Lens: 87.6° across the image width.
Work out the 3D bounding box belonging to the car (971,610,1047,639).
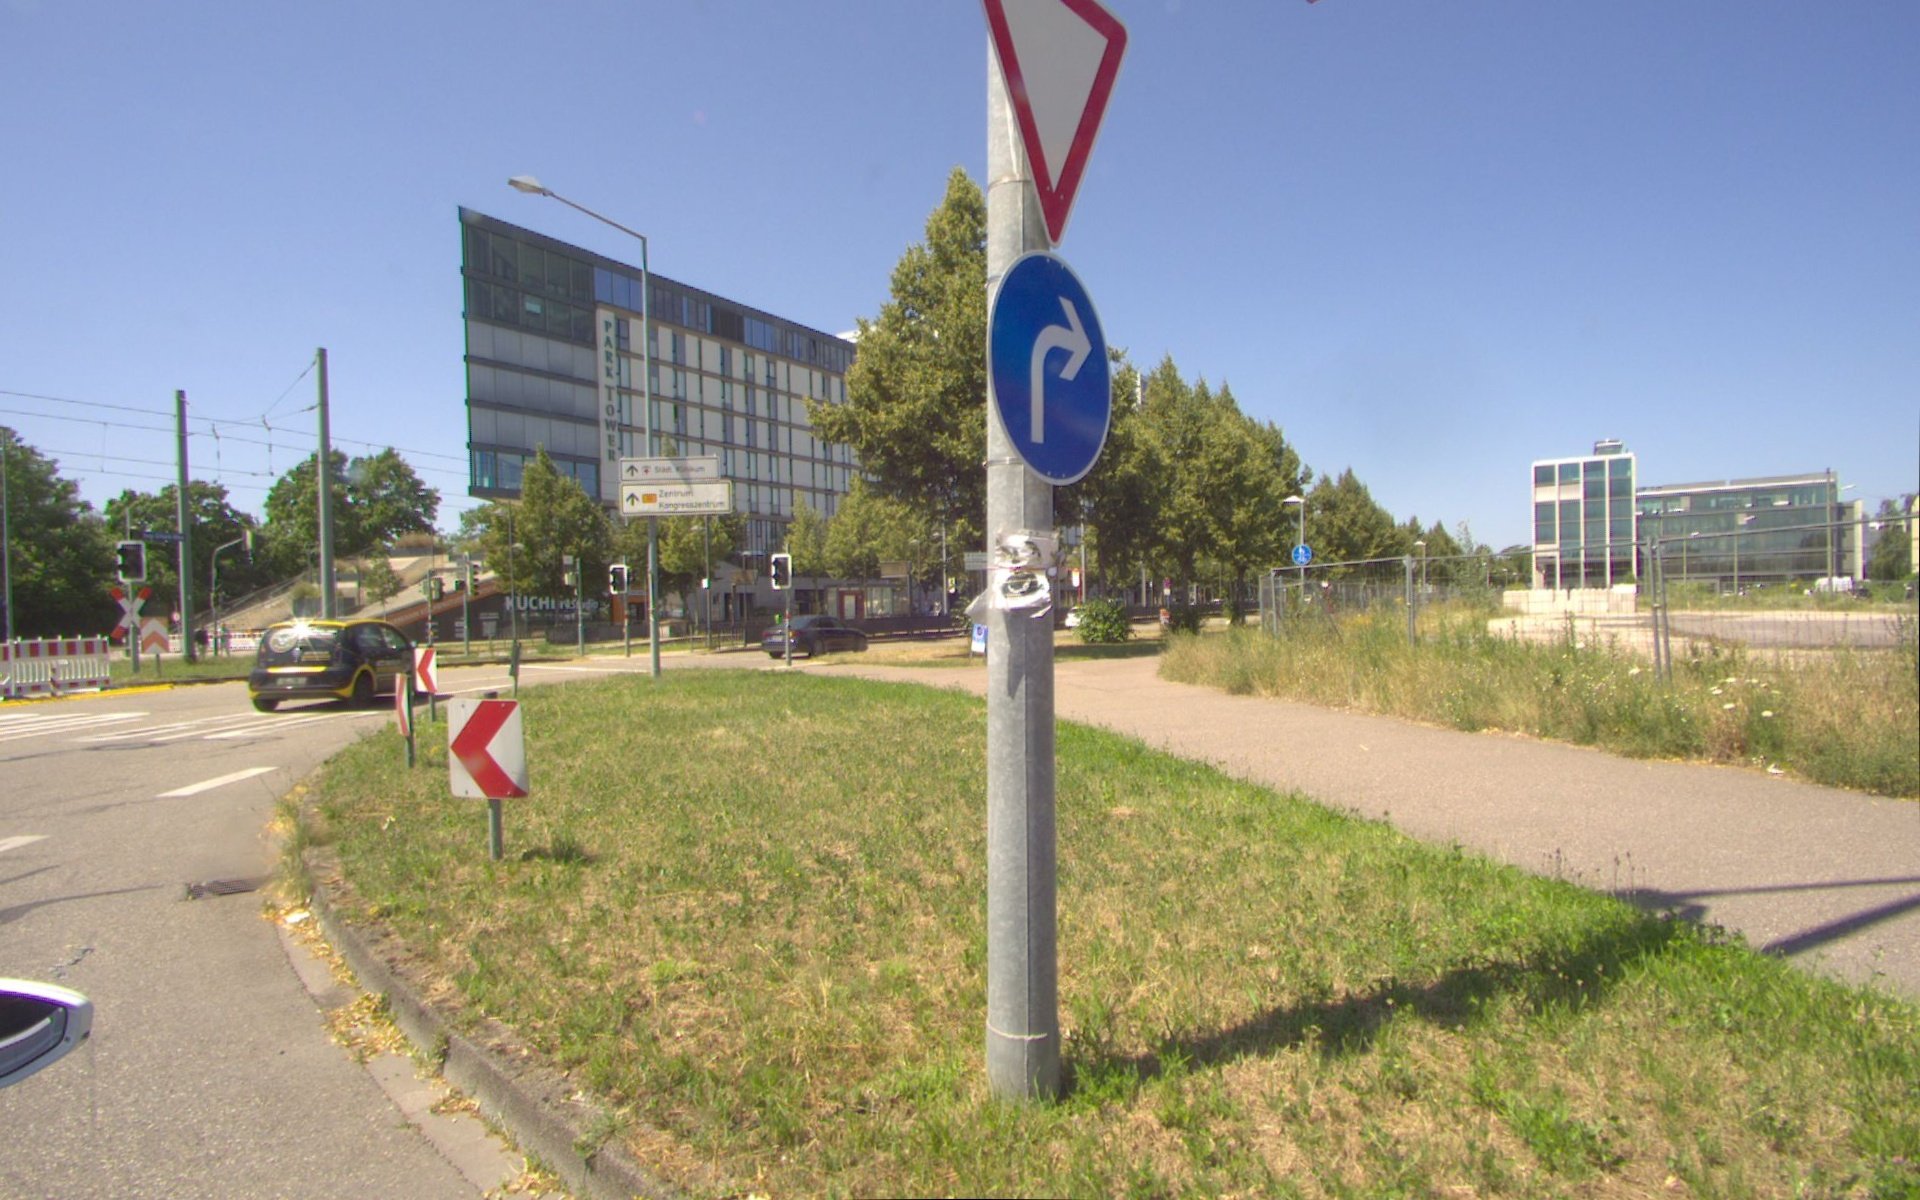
[{"bbox_3d":[2.652,1.292,52.984,1.971,1.467,4.736,-1,-2,31],"label":"car"}]

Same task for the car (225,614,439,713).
[{"bbox_3d":[-10.511,1.009,17.112,1.593,1.470,3.986,-1,-1,-8],"label":"car"}]

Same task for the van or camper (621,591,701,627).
[{"bbox_3d":[-25.107,0.764,84.483,2.347,2.859,6.757,-1,-1,29],"label":"van or camper"}]

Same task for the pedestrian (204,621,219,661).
[{"bbox_3d":[-33.384,1.839,44.673,0.287,1.762,0.447,-1,0,31],"label":"pedestrian"}]

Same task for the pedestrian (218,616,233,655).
[{"bbox_3d":[-33.097,1.607,45.098,0.313,1.762,0.447,-1,0,31],"label":"pedestrian"}]

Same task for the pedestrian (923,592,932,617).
[{"bbox_3d":[-2.323,0.334,71.355,0.404,1.775,0.583,-1,0,29],"label":"pedestrian"}]

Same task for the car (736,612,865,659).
[{"bbox_3d":[-5.352,1.187,34.188,1.969,1.467,4.632,-1,-2,28],"label":"car"}]

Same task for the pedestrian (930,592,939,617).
[{"bbox_3d":[-1.830,0.323,71.989,0.404,1.775,0.583,-1,0,29],"label":"pedestrian"}]

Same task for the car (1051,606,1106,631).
[{"bbox_3d":[7.266,1.125,61.082,1.829,1.467,4.333,-1,-2,29],"label":"car"}]
